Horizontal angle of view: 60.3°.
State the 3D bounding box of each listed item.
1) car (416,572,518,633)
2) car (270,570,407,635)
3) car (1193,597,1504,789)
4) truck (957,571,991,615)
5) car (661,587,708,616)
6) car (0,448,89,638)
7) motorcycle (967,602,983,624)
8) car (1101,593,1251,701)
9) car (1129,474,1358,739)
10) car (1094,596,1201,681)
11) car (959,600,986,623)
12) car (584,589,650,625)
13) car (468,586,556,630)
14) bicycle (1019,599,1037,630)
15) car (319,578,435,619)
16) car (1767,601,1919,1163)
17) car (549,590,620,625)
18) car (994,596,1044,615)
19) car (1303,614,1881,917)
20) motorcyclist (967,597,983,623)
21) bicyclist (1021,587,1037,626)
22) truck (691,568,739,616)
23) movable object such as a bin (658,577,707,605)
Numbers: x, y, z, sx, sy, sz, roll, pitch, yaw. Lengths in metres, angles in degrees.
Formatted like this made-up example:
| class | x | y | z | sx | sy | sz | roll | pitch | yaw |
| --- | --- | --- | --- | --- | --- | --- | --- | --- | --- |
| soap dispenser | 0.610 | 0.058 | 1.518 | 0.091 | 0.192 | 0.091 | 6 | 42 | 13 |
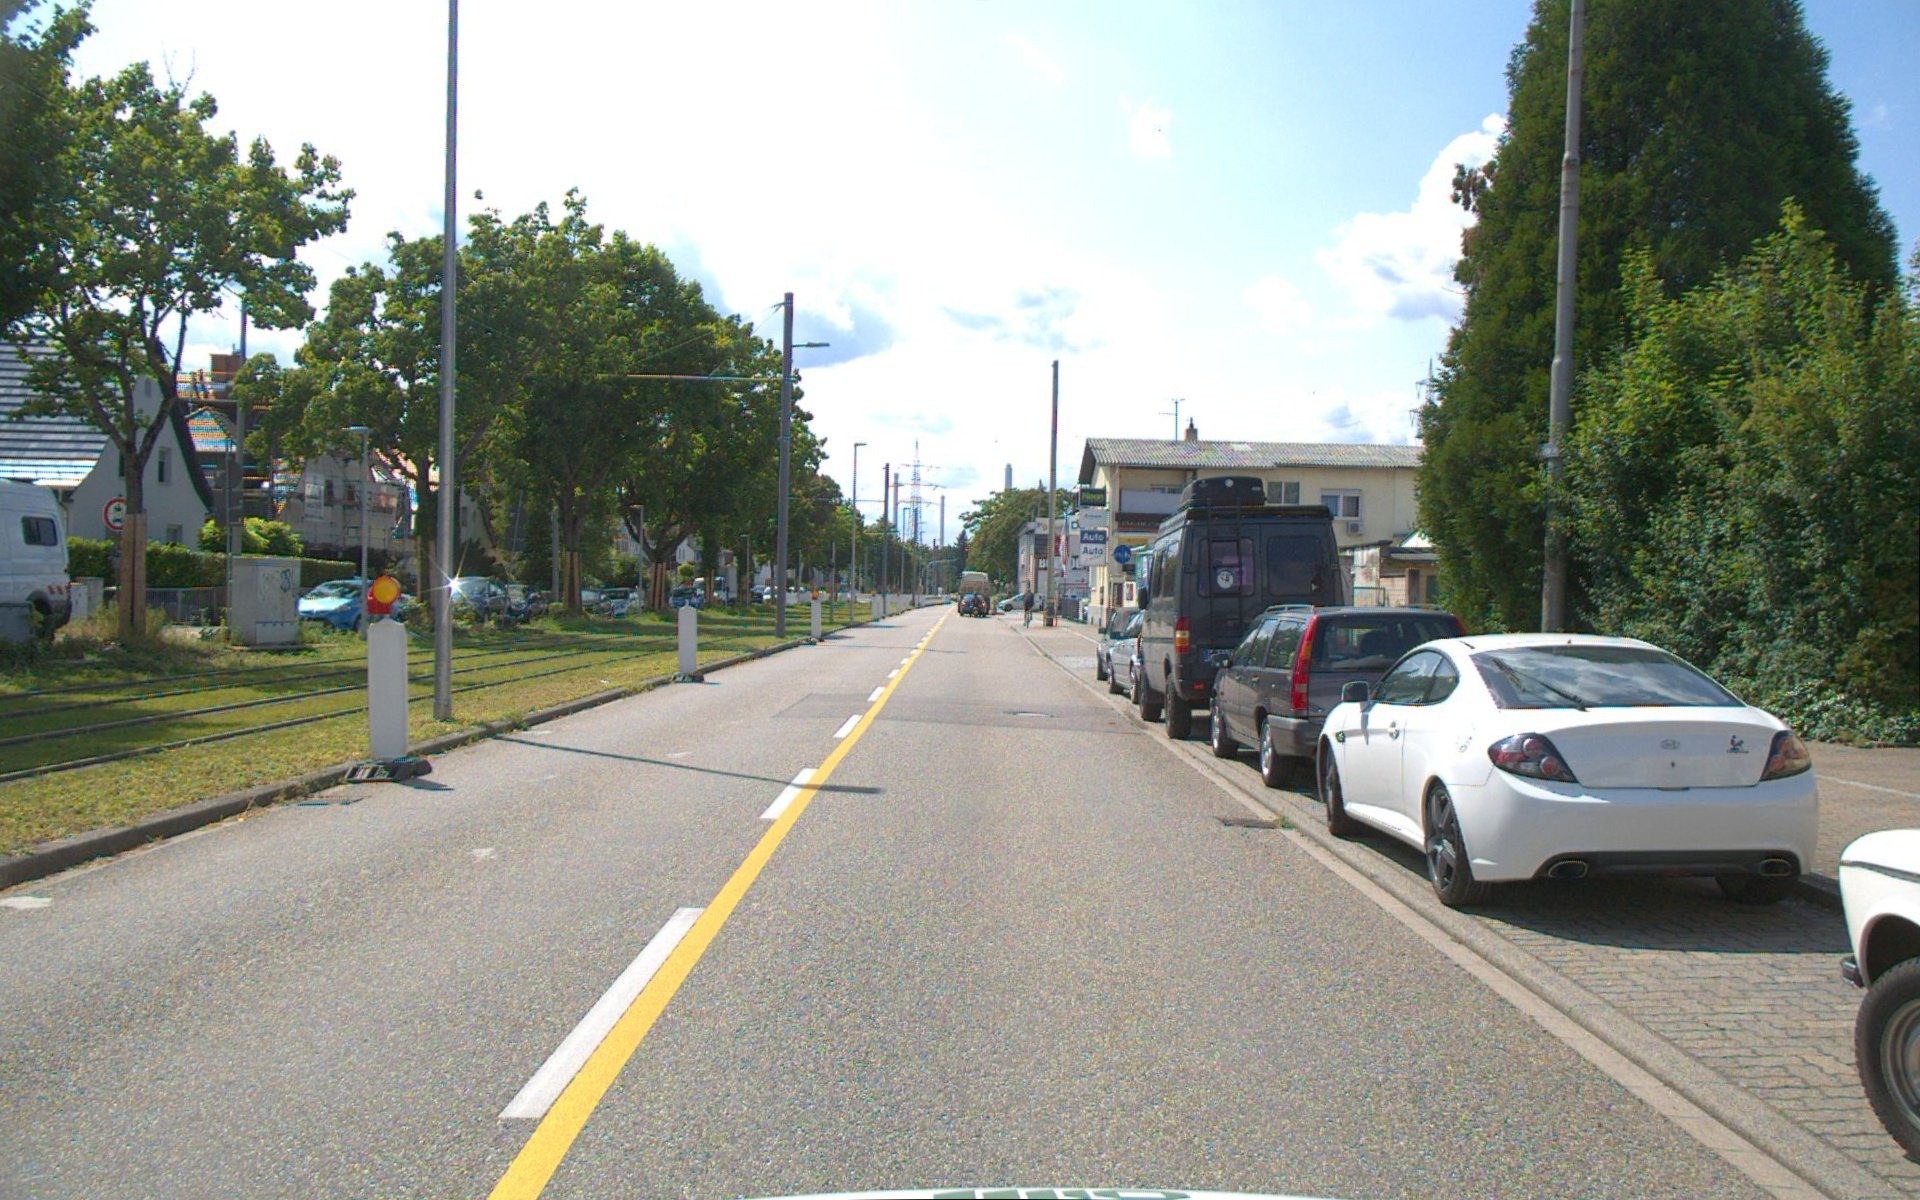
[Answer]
| class | x | y | z | sx | sy | sz | roll | pitch | yaw |
| --- | --- | --- | --- | --- | --- | --- | --- | --- | --- |
| car | -14.983 | 0.102 | 50.484 | 1.954 | 1.721 | 4.389 | 1 | -1 | -3 |
| car | -15.027 | 0.083 | 40.198 | 1.717 | 1.461 | 3.890 | 1 | -1 | 2 |
| car | 3.271 | 0.715 | 14.893 | 1.685 | 1.426 | 4.837 | 1 | 0 | 0 |
| truck | 1.125 | -0.632 | 130.237 | 2.556 | 3.312 | 9.183 | 1 | 1 | 1 |
| car | -15.008 | 0.088 | 90.267 | 1.953 | 1.478 | 3.998 | 1 | -1 | -2 |
| car | -15.023 | -0.855 | 23.515 | 1.953 | 2.778 | 6.460 | 1 | 0 | -2 |
| motorcycle | 0.990 | 0.845 | 109.425 | 0.920 | 1.343 | 2.645 | 4 | 0 | 0 |
| car | 3.339 | 0.708 | 26.323 | 1.657 | 1.543 | 4.354 | 1 | -1 | -2 |
| car | 3.280 | 0.078 | 20.119 | 1.955 | 2.809 | 4.878 | 1 | 0 | 0 |
| car | 3.450 | 0.699 | 31.020 | 1.617 | 1.456 | 4.097 | 1 | -1 | 1 |
| car | 0.850 | 0.794 | 113.900 | 1.784 | 1.449 | 4.000 | 3 | 0 | 0 |
| car | -15.044 | 0.310 | 72.771 | 1.767 | 1.508 | 4.939 | 1 | -1 | 1 |
| car | -15.362 | 0.280 | 56.924 | 1.953 | 1.464 | 3.999 | 0 | -1 | 0 |
| bicycle | 3.116 | 0.643 | 75.543 | 0.678 | 1.385 | 2.418 | 2 | 0 | 0 |
| car | -23.377 | -0.049 | 66.418 | 3.905 | 1.425 | 1.982 | 3 | -1 | 0 |
| car | 3.261 | 0.728 | 3.069 | 1.615 | 1.443 | 4.026 | 1 | 0 | 1 |
| car | -15.198 | 0.320 | 67.117 | 1.953 | 1.341 | 3.852 | -1 | -1 | 0 |
| car | 5.364 | 0.501 | 150.963 | 4.249 | 1.579 | 1.946 | 1 | -1 | -8 |
| car | 3.247 | 0.754 | 9.431 | 1.686 | 1.318 | 4.128 | 1 | 0 | -1 |
| motorcyclist | 1.002 | 0.689 | 109.245 | 0.920 | 1.643 | 1.205 | 4 | -1 | 0 |
| bicyclist | 3.139 | 0.295 | 75.597 | 0.657 | 1.774 | 0.813 | 2 | 0 | 0 |
| truck | -14.957 | -0.512 | 101.286 | 1.953 | 2.816 | 6.276 | -1 | 0 | 0 |
| movable object such as a bin | -25.953 | -0.810 | 154.686 | 4.274 | 2.492 | 1.777 | 2 | 0 | -22 |
